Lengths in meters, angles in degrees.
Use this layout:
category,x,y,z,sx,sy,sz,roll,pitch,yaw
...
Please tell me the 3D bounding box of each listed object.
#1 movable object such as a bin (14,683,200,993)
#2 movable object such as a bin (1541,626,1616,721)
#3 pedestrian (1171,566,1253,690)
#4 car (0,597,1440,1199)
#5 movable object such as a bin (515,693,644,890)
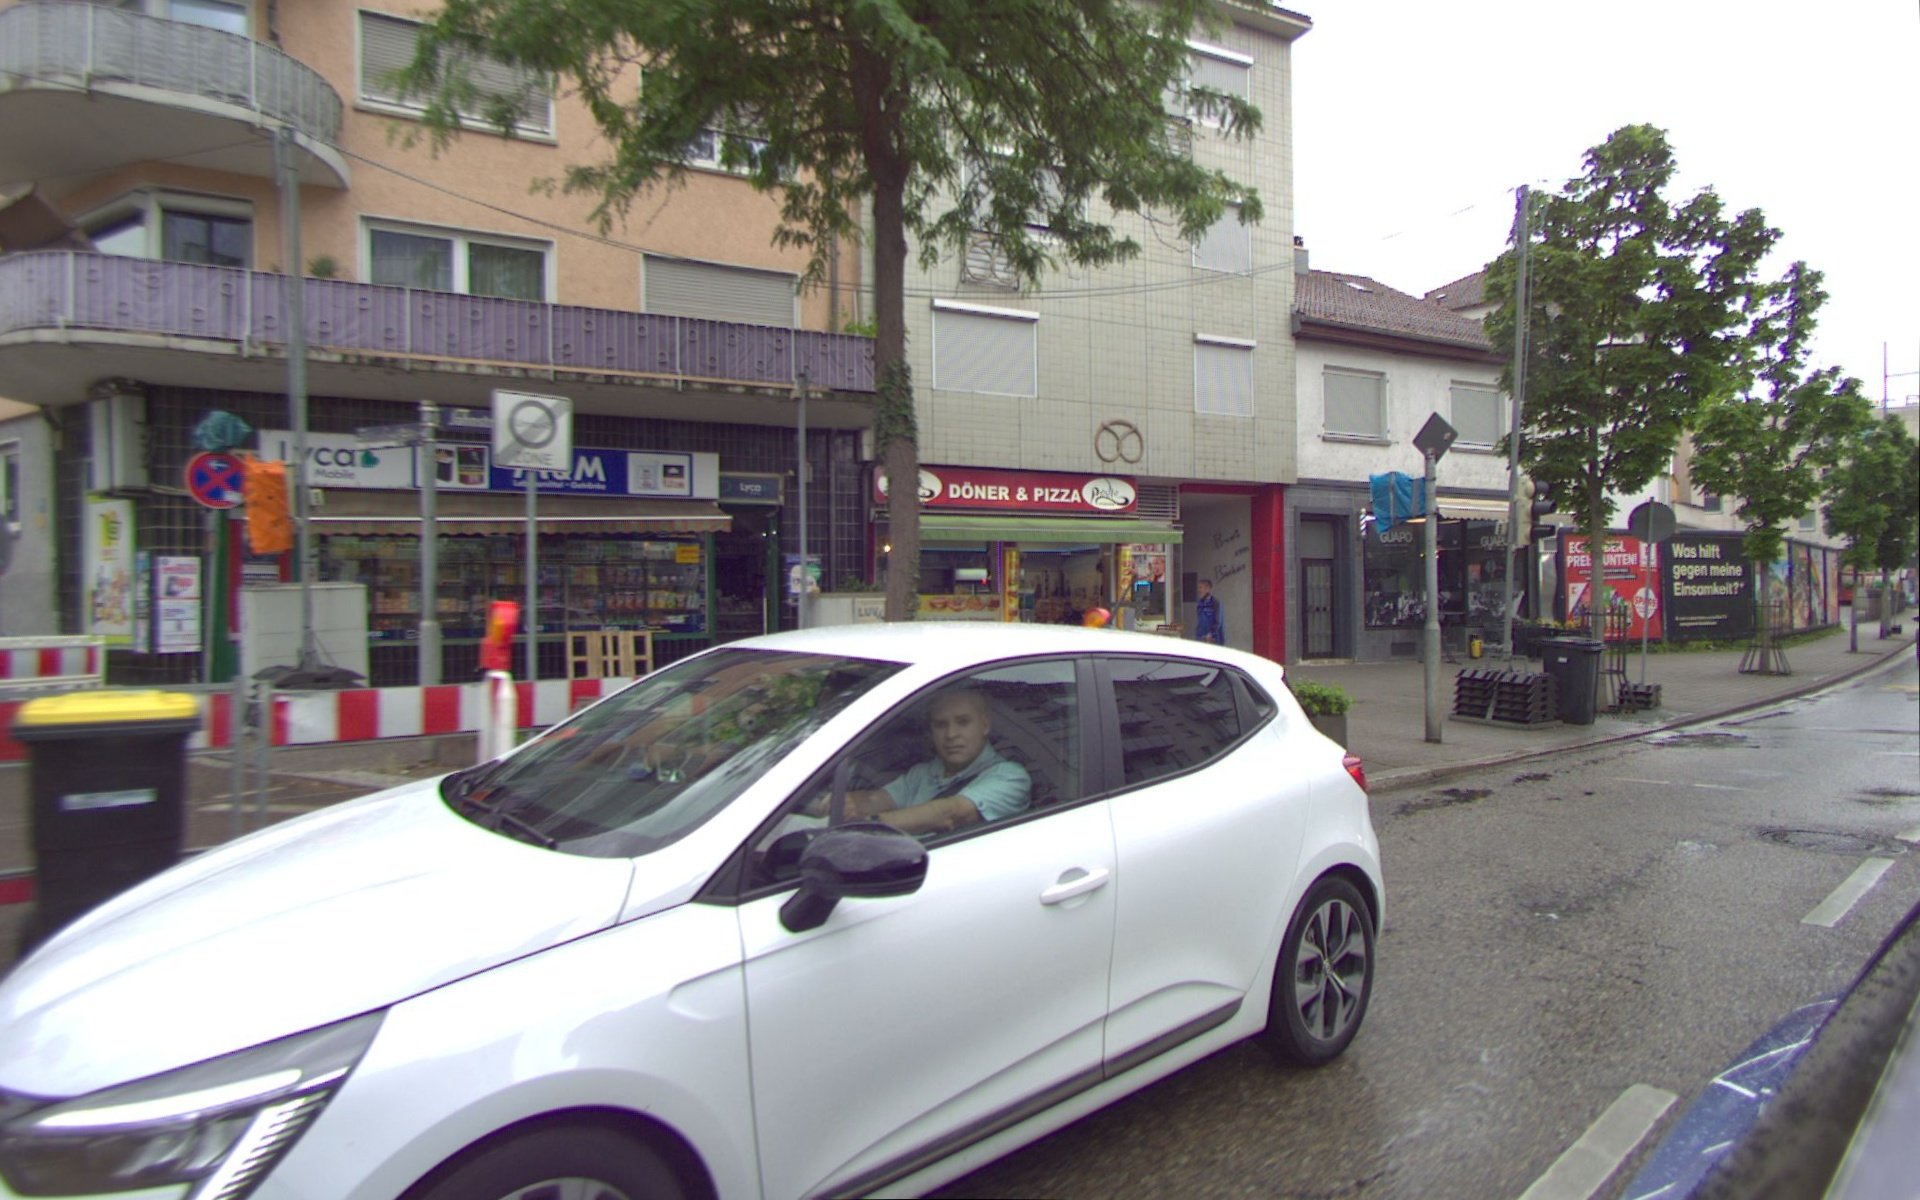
category,x,y,z,sx,sy,sz,roll,pitch,yaw
movable object such as a bin,-3.431,0.894,4.071,0.522,1.044,0.621,1,0,-43
movable object such as a bin,7.780,0.907,12.737,0.653,1.125,0.580,1,1,-36
pedestrian,3.871,0.399,15.599,0.887,1.814,0.973,-1,3,-11
car,-0.309,0.749,3.034,3.929,1.421,1.680,-1,2,-40
movable object such as a bin,-2.069,1.011,5.512,0.522,0.941,0.420,1,0,-43
